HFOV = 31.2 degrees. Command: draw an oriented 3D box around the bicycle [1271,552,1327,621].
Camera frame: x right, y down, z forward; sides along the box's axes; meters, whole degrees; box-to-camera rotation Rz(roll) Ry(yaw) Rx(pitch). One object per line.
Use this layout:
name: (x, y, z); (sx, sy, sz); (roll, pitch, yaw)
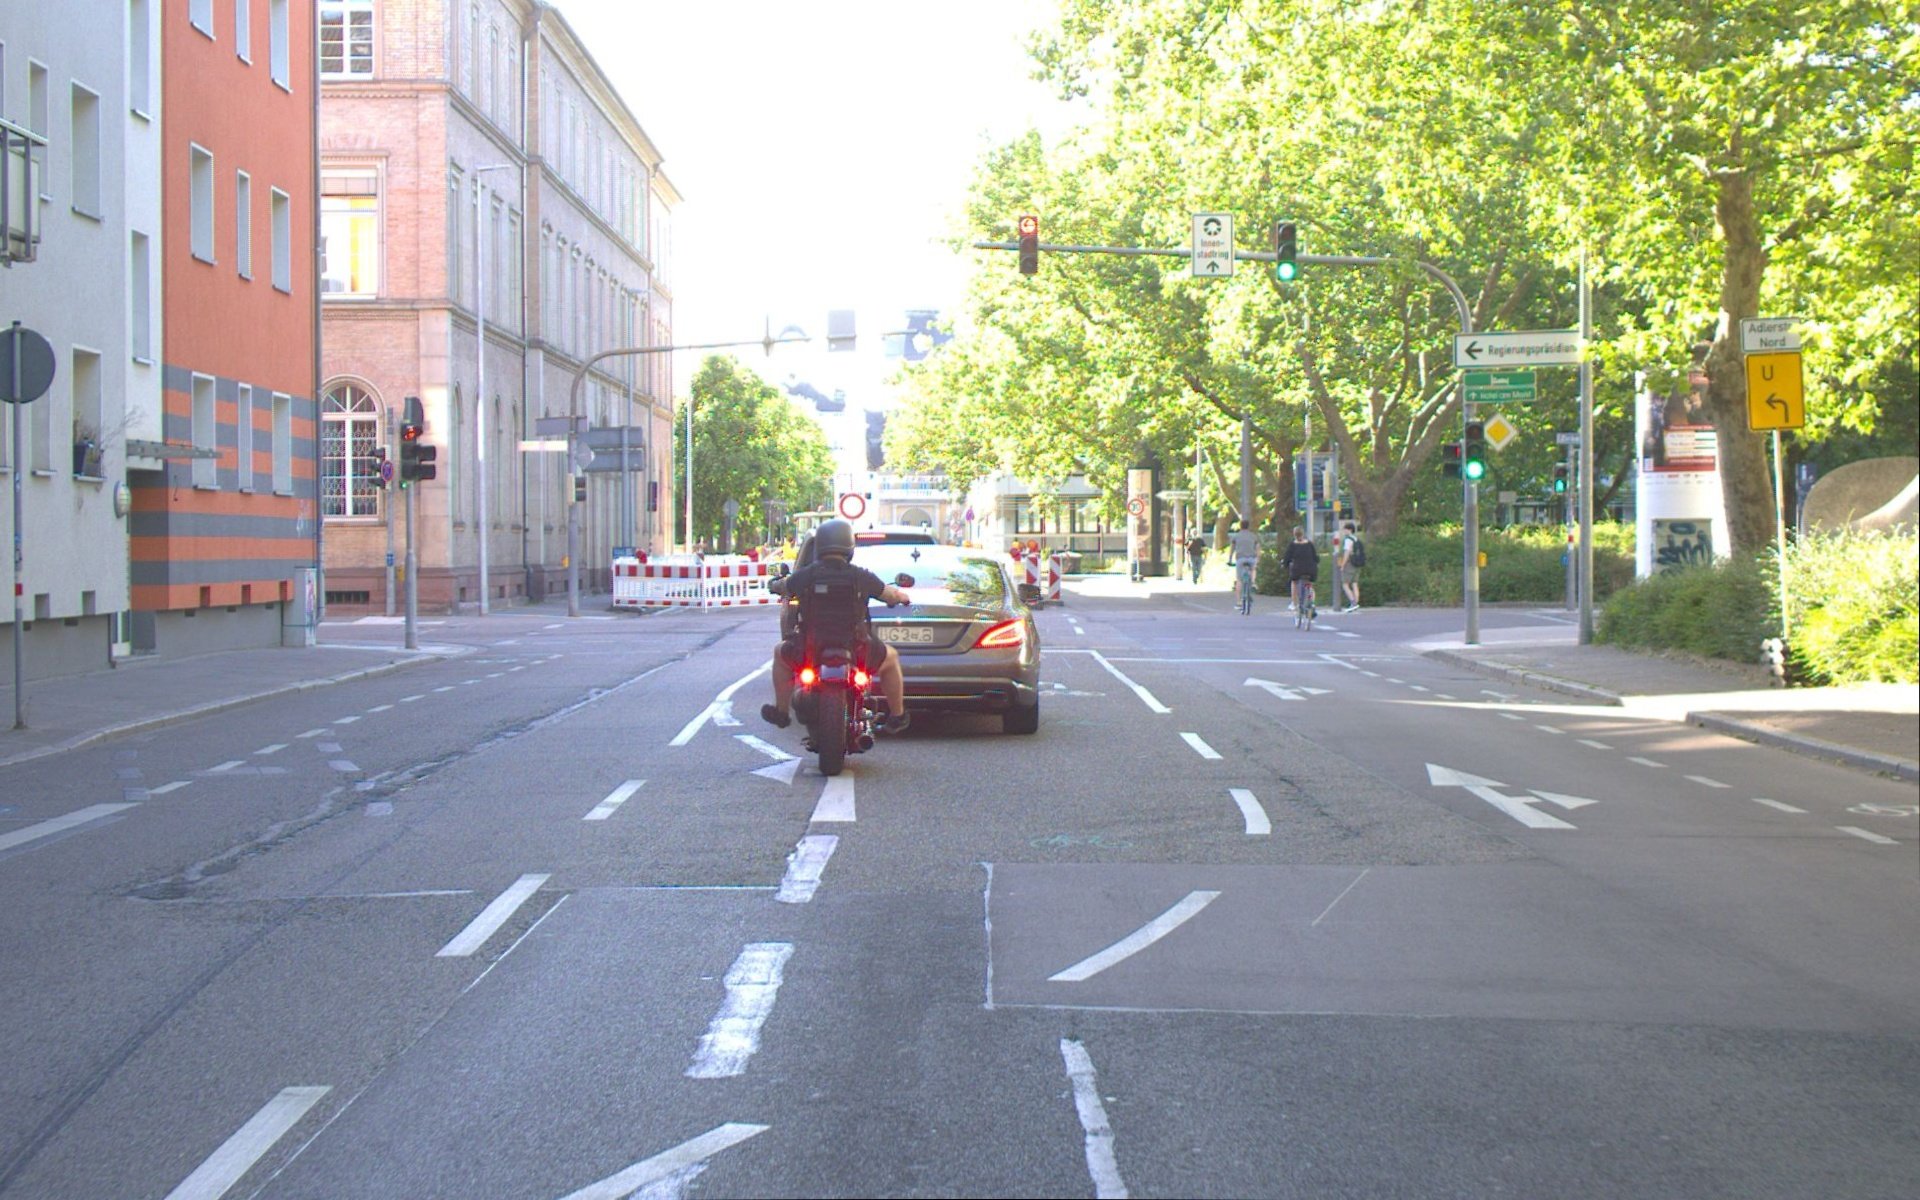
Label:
bicycle: (5.401, -0.229, 54.877); (0.656, 1.066, 1.927); (1, 1, -1)

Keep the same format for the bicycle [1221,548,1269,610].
bicycle: (5.276, -0.401, 63.773); (0.656, 1.107, 2.186); (1, 1, -1)

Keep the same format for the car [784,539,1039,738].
car: (-0.378, 0.244, 26.740); (1.828, 1.415, 3.815); (0, 1, -1)

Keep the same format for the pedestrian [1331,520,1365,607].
pedestrian: (8.012, -0.753, 70.974); (0.624, 1.768, 0.572); (1, 1, 12)

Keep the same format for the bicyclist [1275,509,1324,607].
bicyclist: (5.414, -0.670, 54.866); (0.656, 1.525, 0.852); (1, 1, -1)

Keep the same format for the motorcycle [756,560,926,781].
motorcycle: (-0.733, 0.408, 22.013); (1.012, 1.302, 2.673); (0, 1, -1)

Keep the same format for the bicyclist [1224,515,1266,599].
bicyclist: (5.285, -0.801, 63.802); (0.656, 1.525, 0.906); (1, 1, -1)

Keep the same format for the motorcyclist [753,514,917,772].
motorcyclist: (-0.787, 0.253, 22.042); (1.012, 1.596, 1.406); (0, 1, -1)

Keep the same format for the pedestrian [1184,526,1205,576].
pedestrian: (7.427, -1.556, 109.027); (0.592, 1.573, 0.527); (1, 1, 0)

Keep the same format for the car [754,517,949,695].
car: (-1.134, 0.030, 34.310); (1.630, 1.645, 3.851); (1, 1, -6)
